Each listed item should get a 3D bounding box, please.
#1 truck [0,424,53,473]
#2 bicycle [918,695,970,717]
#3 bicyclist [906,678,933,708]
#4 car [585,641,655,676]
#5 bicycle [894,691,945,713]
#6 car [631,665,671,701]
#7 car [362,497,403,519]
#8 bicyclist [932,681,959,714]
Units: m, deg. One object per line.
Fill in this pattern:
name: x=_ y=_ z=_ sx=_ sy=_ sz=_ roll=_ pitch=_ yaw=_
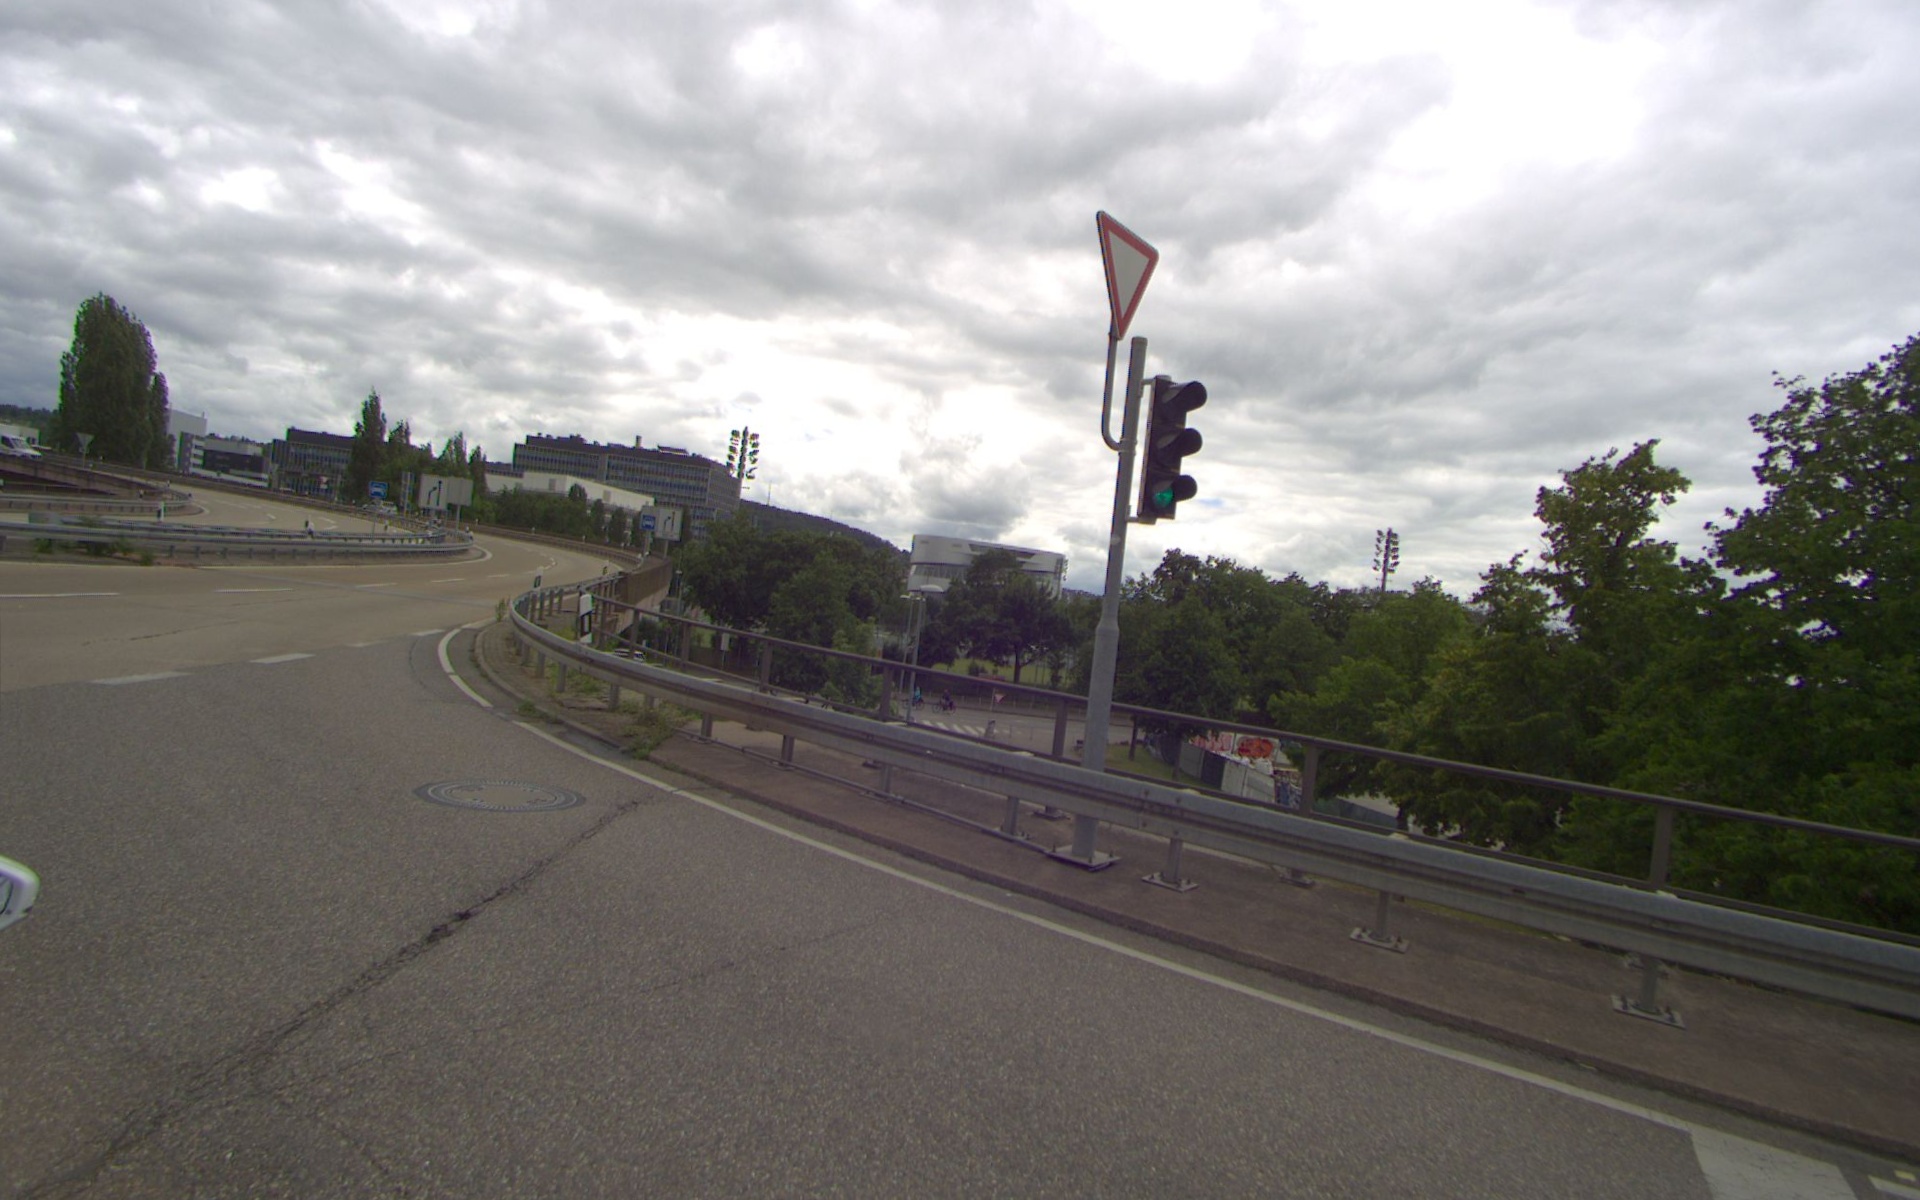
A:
truck: x=-79.914 y=-12.814 z=82.939 sx=7.223 sy=3.306 sz=2.329 roll=8 pitch=-2 yaw=-7
bicycle: x=-1.223 y=8.274 z=78.430 sx=3.810 sy=1.189 sz=1.086 roll=12 pitch=-7 yaw=-25
bicyclist: x=-3.169 y=7.277 z=79.124 sx=1.549 sy=2.113 sz=1.086 roll=11 pitch=-7 yaw=-25
car: x=-26.546 y=4.595 z=78.728 sx=4.786 sy=1.882 sz=2.013 roll=11 pitch=-3 yaw=-12
bicycle: x=-3.167 y=8.017 z=79.113 sx=3.810 sy=1.189 sz=1.086 roll=12 pitch=-7 yaw=-25
car: x=-18.568 y=4.973 z=60.601 sx=1.798 sy=1.552 sz=3.990 roll=8 pitch=-1 yaw=-12
car: x=-57.190 y=-9.132 z=99.613 sx=4.486 sy=1.757 sz=1.725 roll=7 pitch=-1 yaw=37
bicyclist: x=-1.135 y=7.607 z=78.494 sx=1.563 sy=2.272 sz=1.086 roll=11 pitch=-7 yaw=-25
